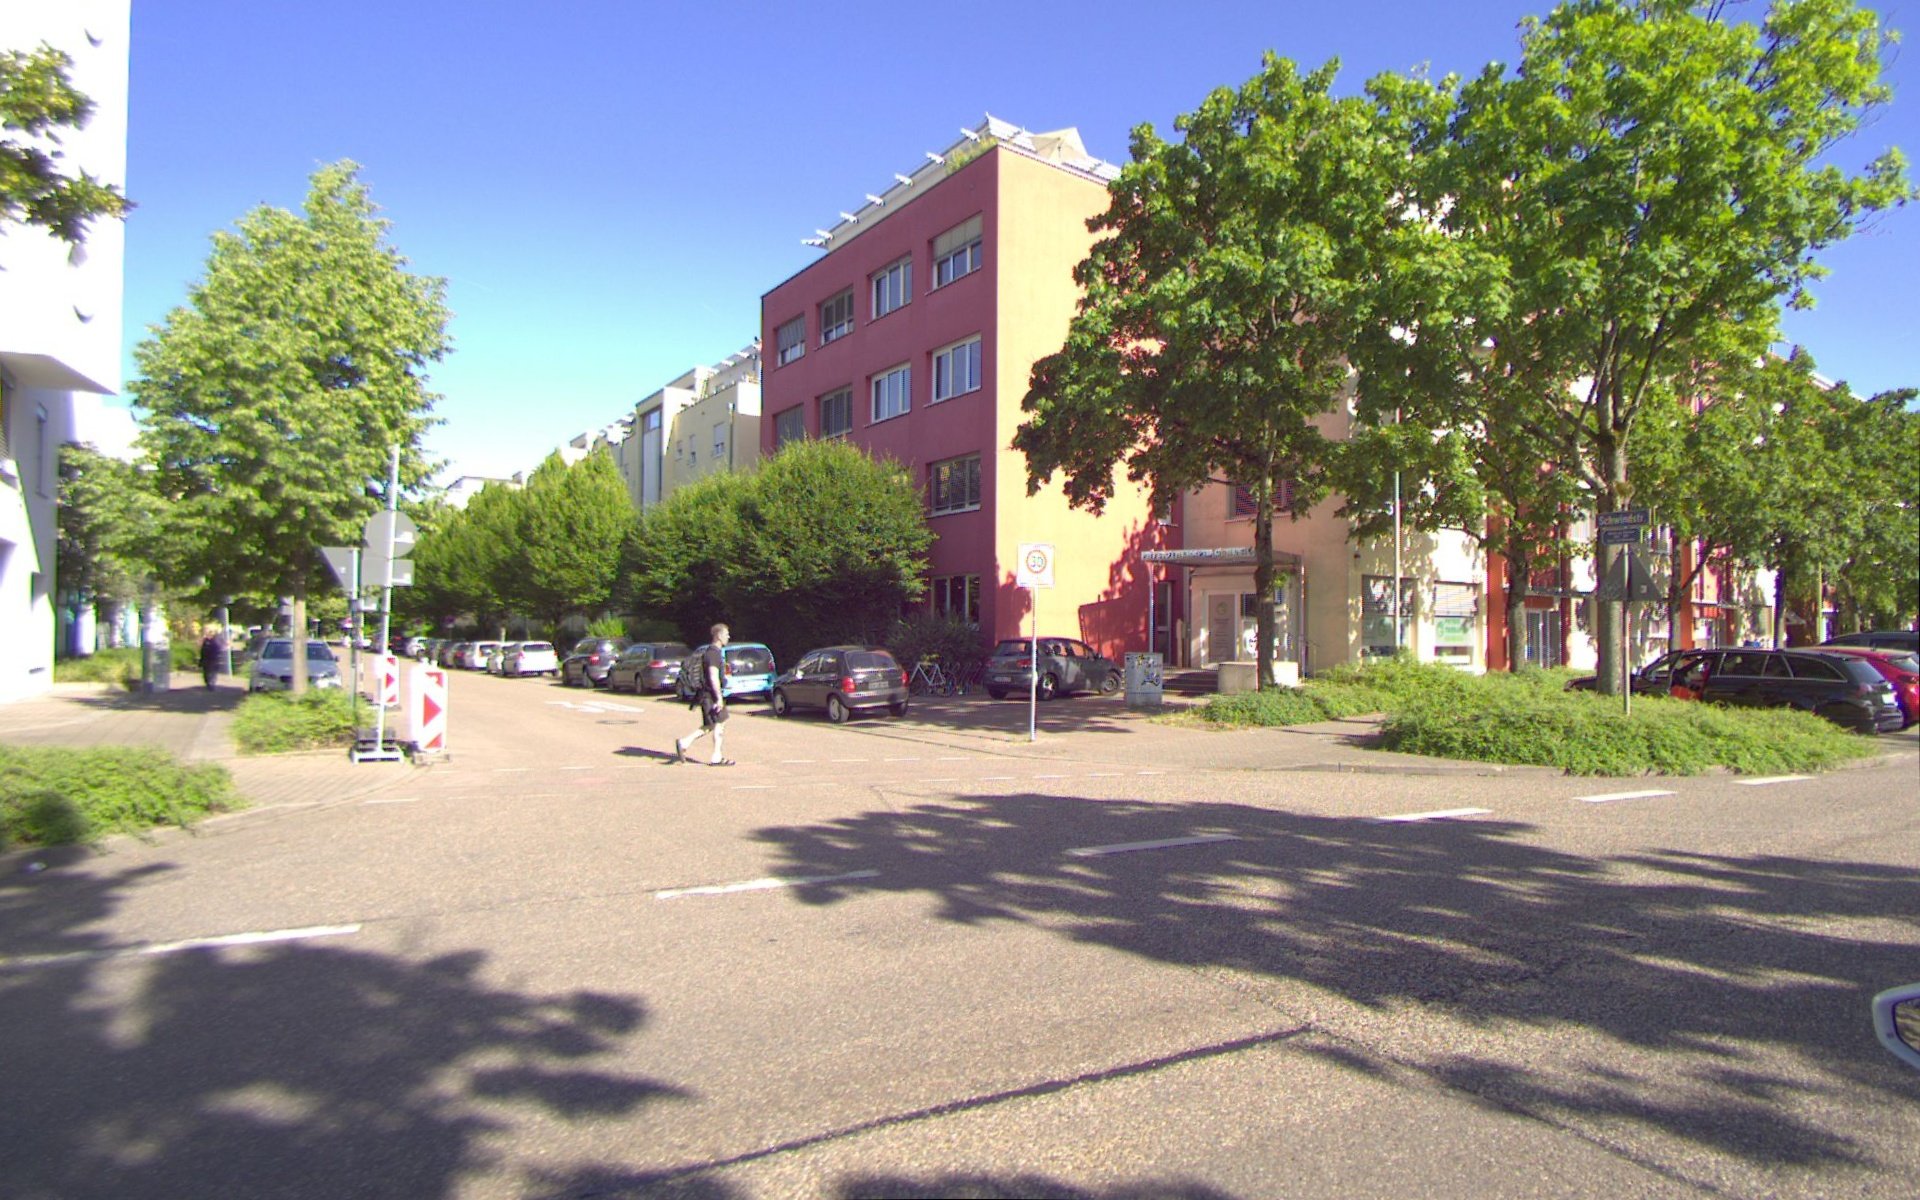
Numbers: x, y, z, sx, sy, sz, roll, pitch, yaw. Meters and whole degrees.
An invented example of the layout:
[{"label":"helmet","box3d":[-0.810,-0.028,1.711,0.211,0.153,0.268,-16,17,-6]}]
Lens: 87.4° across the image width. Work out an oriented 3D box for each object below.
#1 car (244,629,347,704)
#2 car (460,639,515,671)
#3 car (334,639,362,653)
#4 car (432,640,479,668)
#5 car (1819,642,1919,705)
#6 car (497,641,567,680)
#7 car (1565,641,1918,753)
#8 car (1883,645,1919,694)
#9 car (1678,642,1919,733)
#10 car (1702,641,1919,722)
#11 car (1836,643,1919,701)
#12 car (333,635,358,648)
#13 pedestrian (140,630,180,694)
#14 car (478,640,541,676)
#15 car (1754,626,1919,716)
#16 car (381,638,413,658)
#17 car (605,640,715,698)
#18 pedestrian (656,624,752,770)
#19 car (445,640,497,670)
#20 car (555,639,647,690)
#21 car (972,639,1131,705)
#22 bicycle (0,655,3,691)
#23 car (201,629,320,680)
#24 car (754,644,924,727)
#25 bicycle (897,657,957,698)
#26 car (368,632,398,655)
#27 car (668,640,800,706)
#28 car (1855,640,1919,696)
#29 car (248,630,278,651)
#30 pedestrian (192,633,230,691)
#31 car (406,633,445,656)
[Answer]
[{"label":"car","box3d":[-16.460,1.554,24.803,1.981,1.615,4.206,1,-1,-36]},{"label":"car","box3d":[-24.478,2.833,51.999,1.918,1.524,3.880,-1,-1,-36]},{"label":"car","box3d":[-64.371,4.806,105.633,1.983,1.449,4.592,2,-3,-39]},{"label":"car","box3d":[-29.846,3.143,59.349,1.918,1.524,3.880,-1,-1,-36]},{"label":"car","box3d":[24.306,1.869,25.382,1.860,1.466,3.696,2,-1,-39]},{"label":"car","box3d":[-18.319,2.536,42.862,1.918,1.524,3.968,-1,-1,-36]},{"label":"car","box3d":[12.534,1.463,16.408,1.720,1.442,4.240,2,-1,-31]},{"label":"car","box3d":[30.034,2.109,29.742,1.823,1.446,3.700,2,-1,-36]},{"label":"car","box3d":[16.366,1.601,19.273,1.722,1.442,3.866,2,-1,-35]},{"label":"car","box3d":[18.293,1.661,21.238,1.722,1.442,3.866,2,-1,-35]},{"label":"car","box3d":[26.089,1.945,26.910,1.844,1.466,3.696,2,-1,-39]},{"label":"car","box3d":[-69.466,4.713,113.448,1.982,1.449,3.958,2,-3,-37]},{"label":"pedestrian","box3d":[-19.708,1.515,24.744,0.713,1.534,0.790,2,-1,-38]},{"label":"car","box3d":[-21.119,2.673,47.008,1.918,1.524,3.968,-1,-1,-36]},{"label":"car","box3d":[20.206,1.530,22.176,1.768,1.835,3.866,2,-1,-35]},{"label":"car","box3d":[-46.905,3.989,83.685,1.918,1.524,3.880,-1,-1,-36]},{"label":"car","box3d":[-8.934,1.983,29.753,1.918,1.524,3.968,-1,-1,-36]},{"label":"pedestrian","box3d":[-3.231,1.200,12.677,1.011,1.748,0.653,2,-4,-32]},{"label":"car","box3d":[-27.033,3.021,55.482,1.918,1.524,3.880,-1,-1,-36]},{"label":"car","box3d":[-12.241,2.144,34.148,1.918,1.524,3.968,-1,-1,-36]},{"label":"car","box3d":[2.297,1.691,24.495,1.715,1.462,4.109,-3,-3,43]},{"label":"bicycle","box3d":[-22.953,1.736,23.693,0.285,0.883,1.786,2,-4,-36]},{"label":"car","box3d":[-29.413,2.252,42.289,3.965,2.040,1.978,2,-3,-39]},{"label":"car","box3d":[-2.578,1.674,20.684,1.786,1.466,3.956,-1,-1,-36]},{"label":"bicycle","box3d":[-0.851,1.964,25.644,1.648,0.999,0.449,-2,-3,39]},{"label":"car","box3d":[-52.415,3.919,91.186,1.850,2.040,3.958,2,-3,-37]},{"label":"car","box3d":[-5.862,1.805,25.749,1.918,1.469,3.968,-1,-1,-36]},{"label":"car","box3d":[28.068,1.970,28.519,1.842,1.528,3.700,2,-1,-36]},{"label":"car","box3d":[-60.881,3.557,87.693,1.830,1.829,3.955,2,-3,-40]},{"label":"pedestrian","box3d":[-19.761,1.630,26.486,0.677,1.508,0.836,2,-3,-44]},{"label":"car","box3d":[-37.917,3.169,71.174,1.918,1.524,3.880,-1,-1,-36]}]
